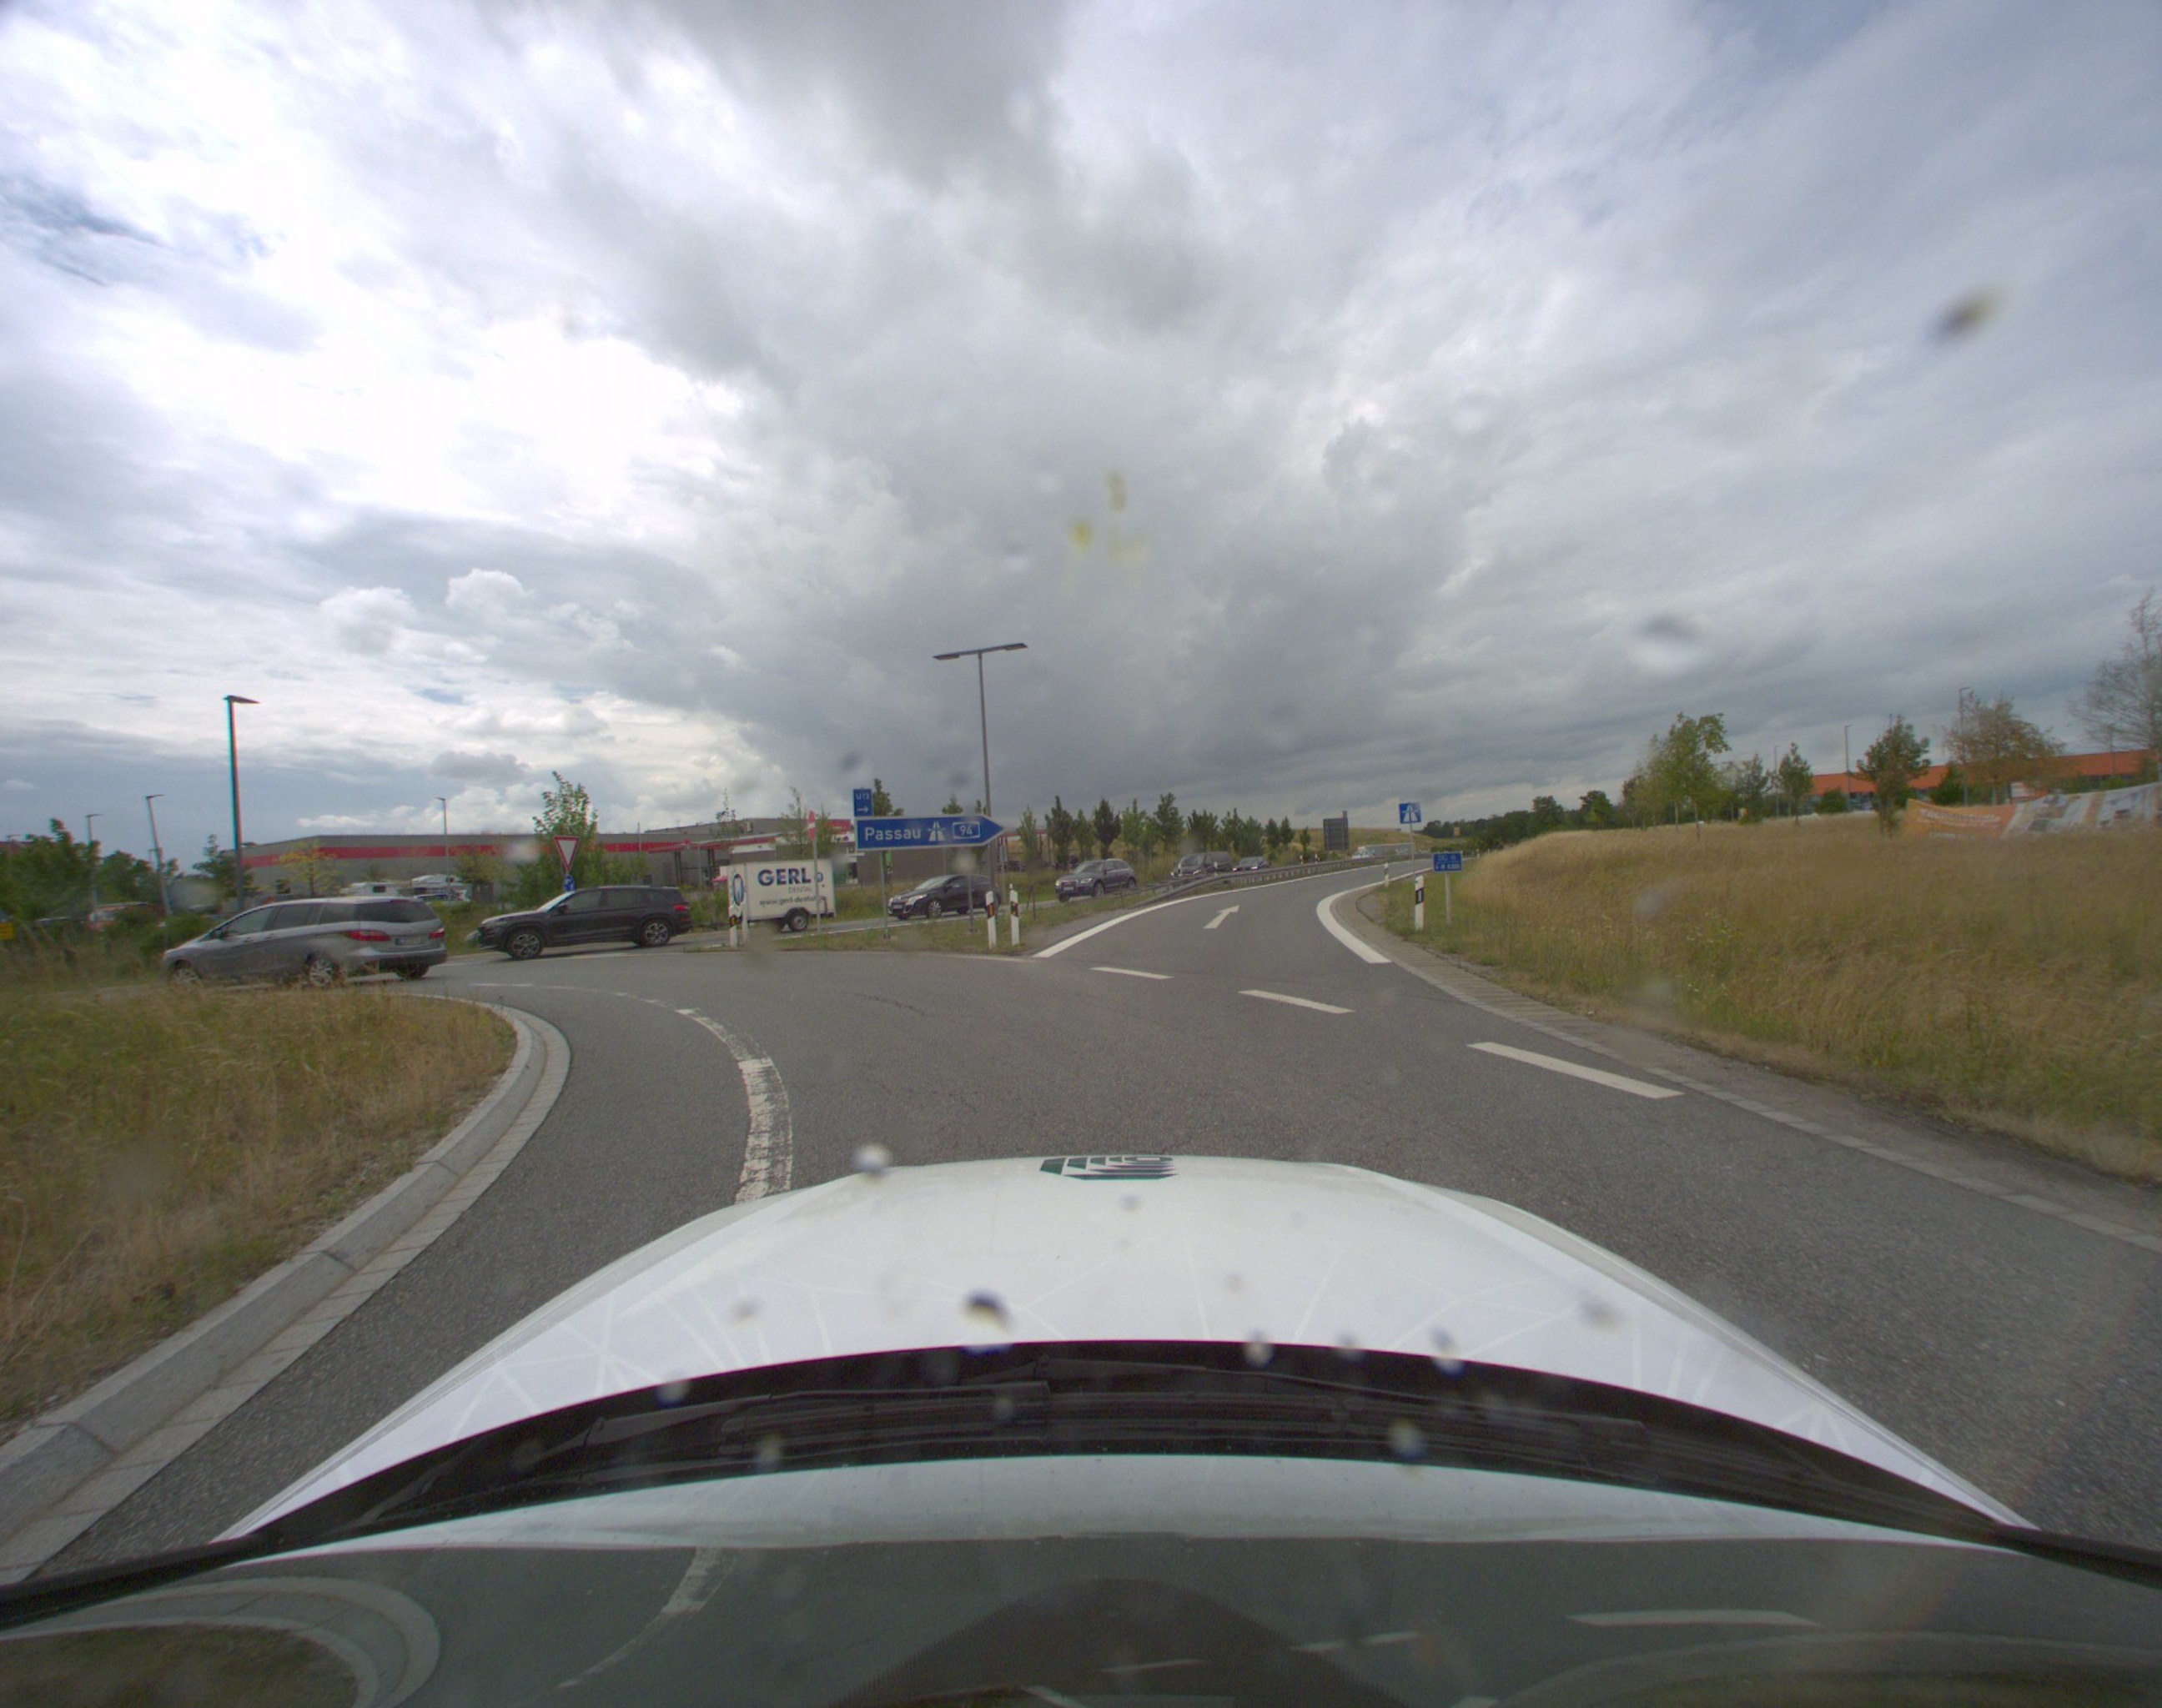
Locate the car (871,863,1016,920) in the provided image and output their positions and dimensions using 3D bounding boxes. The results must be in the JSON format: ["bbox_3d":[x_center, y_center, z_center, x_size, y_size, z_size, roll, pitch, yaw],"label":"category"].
[{"bbox_3d":[-4.648,1.262,28.088,1.974,1.684,4.620,-5,-3,43],"label":"car"}]

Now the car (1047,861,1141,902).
[{"bbox_3d":[0.631,1.106,34.019,1.713,1.491,4.571,-2,0,34],"label":"car"}]

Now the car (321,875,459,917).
[{"bbox_3d":[-53.109,3.132,62.903,2.439,2.820,7.736,-2,0,28],"label":"car"}]

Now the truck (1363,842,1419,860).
[{"bbox_3d":[91.550,-0.835,240.518,15.148,4.961,3.466,-2,0,20],"label":"truck"}]

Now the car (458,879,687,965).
[{"bbox_3d":[-12.769,1.594,20.617,4.706,1.760,1.977,-1,0,-39],"label":"car"}]

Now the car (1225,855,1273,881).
[{"bbox_3d":[12.149,0.984,58.827,1.974,1.684,4.620,-4,-2,29],"label":"car"}]

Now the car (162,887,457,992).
[{"bbox_3d":[-14.007,1.533,14.894,3.961,1.598,1.748,-2,1,8],"label":"car"}]

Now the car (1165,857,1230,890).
[{"bbox_3d":[6.628,1.056,45.962,1.974,1.684,4.620,-4,-2,29],"label":"car"}]

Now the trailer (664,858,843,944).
[{"bbox_3d":[-9.478,1.274,23.743,4.395,2.184,1.976,-1,0,-40],"label":"trailer"}]
